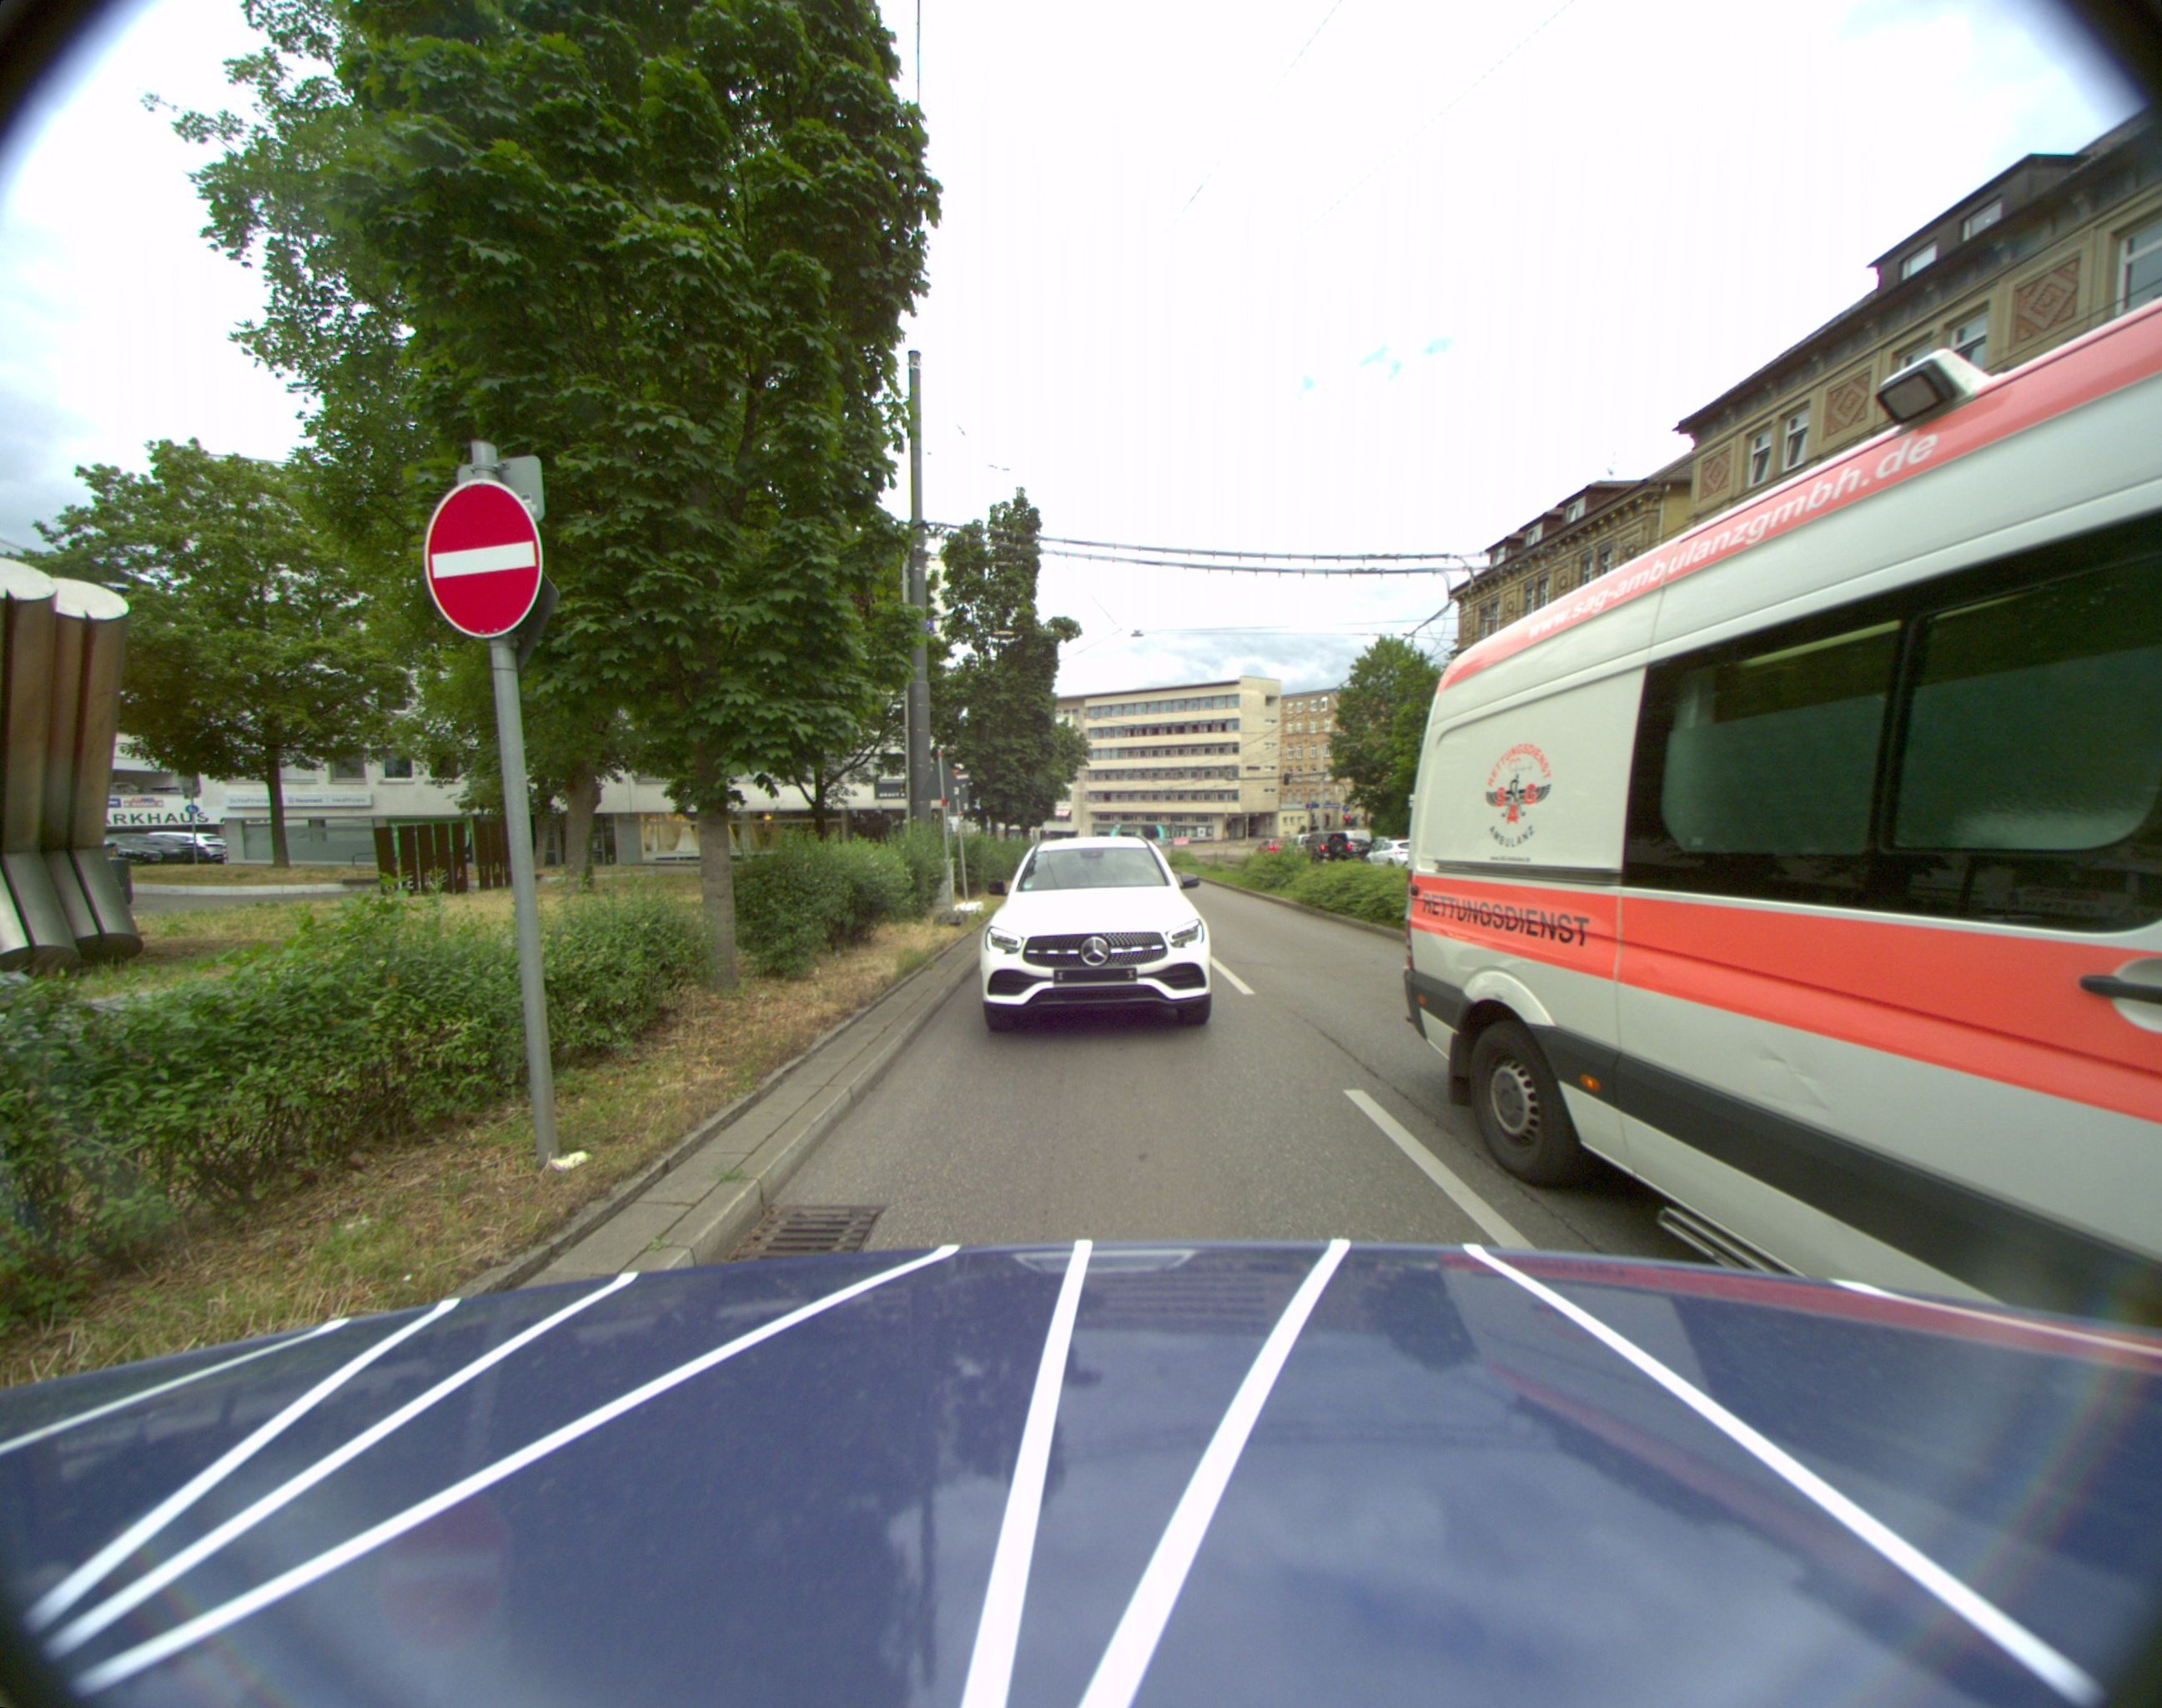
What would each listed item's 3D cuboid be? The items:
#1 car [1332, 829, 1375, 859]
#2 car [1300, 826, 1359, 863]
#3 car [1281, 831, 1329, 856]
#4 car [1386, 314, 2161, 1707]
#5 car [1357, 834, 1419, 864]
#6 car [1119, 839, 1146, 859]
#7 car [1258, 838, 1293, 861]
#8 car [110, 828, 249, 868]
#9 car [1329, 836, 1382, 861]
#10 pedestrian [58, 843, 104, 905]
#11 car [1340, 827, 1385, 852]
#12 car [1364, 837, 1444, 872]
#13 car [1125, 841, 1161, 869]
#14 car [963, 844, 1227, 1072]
[{"bbox_3d":[19.656,-0.736,55.008,1.794,2.109,3.916,0,1,1],"label":"car"},{"bbox_3d":[14.460,-0.575,44.477,2.147,2.002,4.747,0,1,4],"label":"car"},{"bbox_3d":[14.511,-0.674,49.462,1.998,1.575,3.999,0,1,1],"label":"car"},{"bbox_3d":[2.782,0.451,1.528,2.039,2.684,5.853,-1,1,1],"label":"car"},{"bbox_3d":[16.967,-0.318,42.219,1.759,1.561,3.999,0,1,-1],"label":"car"},{"bbox_3d":[3.995,-0.402,59.151,1.998,1.543,4.318,0,1,4],"label":"car"},{"bbox_3d":[14.330,-0.351,56.056,1.681,1.620,3.843,0,1,2],"label":"car"},{"bbox_3d":[-43.025,-0.294,36.363,4.001,1.677,1.687,-3,2,-12],"label":"car"},{"bbox_3d":[16.989,-0.354,47.225,1.888,1.502,3.999,0,1,1],"label":"car"},{"bbox_3d":[-24.759,0.480,18.818,0.672,1.525,0.529,1,2,26],"label":"pedestrian"},{"bbox_3d":[21.727,-1.133,58.852,1.848,1.905,3.998,0,1,-3],"label":"car"},{"bbox_3d":[14.590,-0.034,34.563,1.899,1.487,3.999,0,1,0],"label":"car"},{"bbox_3d":[3.683,0.025,45.708,1.930,1.563,4.180,-2,1,2],"label":"car"},{"bbox_3d":[0.086,0.729,7.767,1.894,1.610,4.477,-1,1,-1],"label":"car"}]
